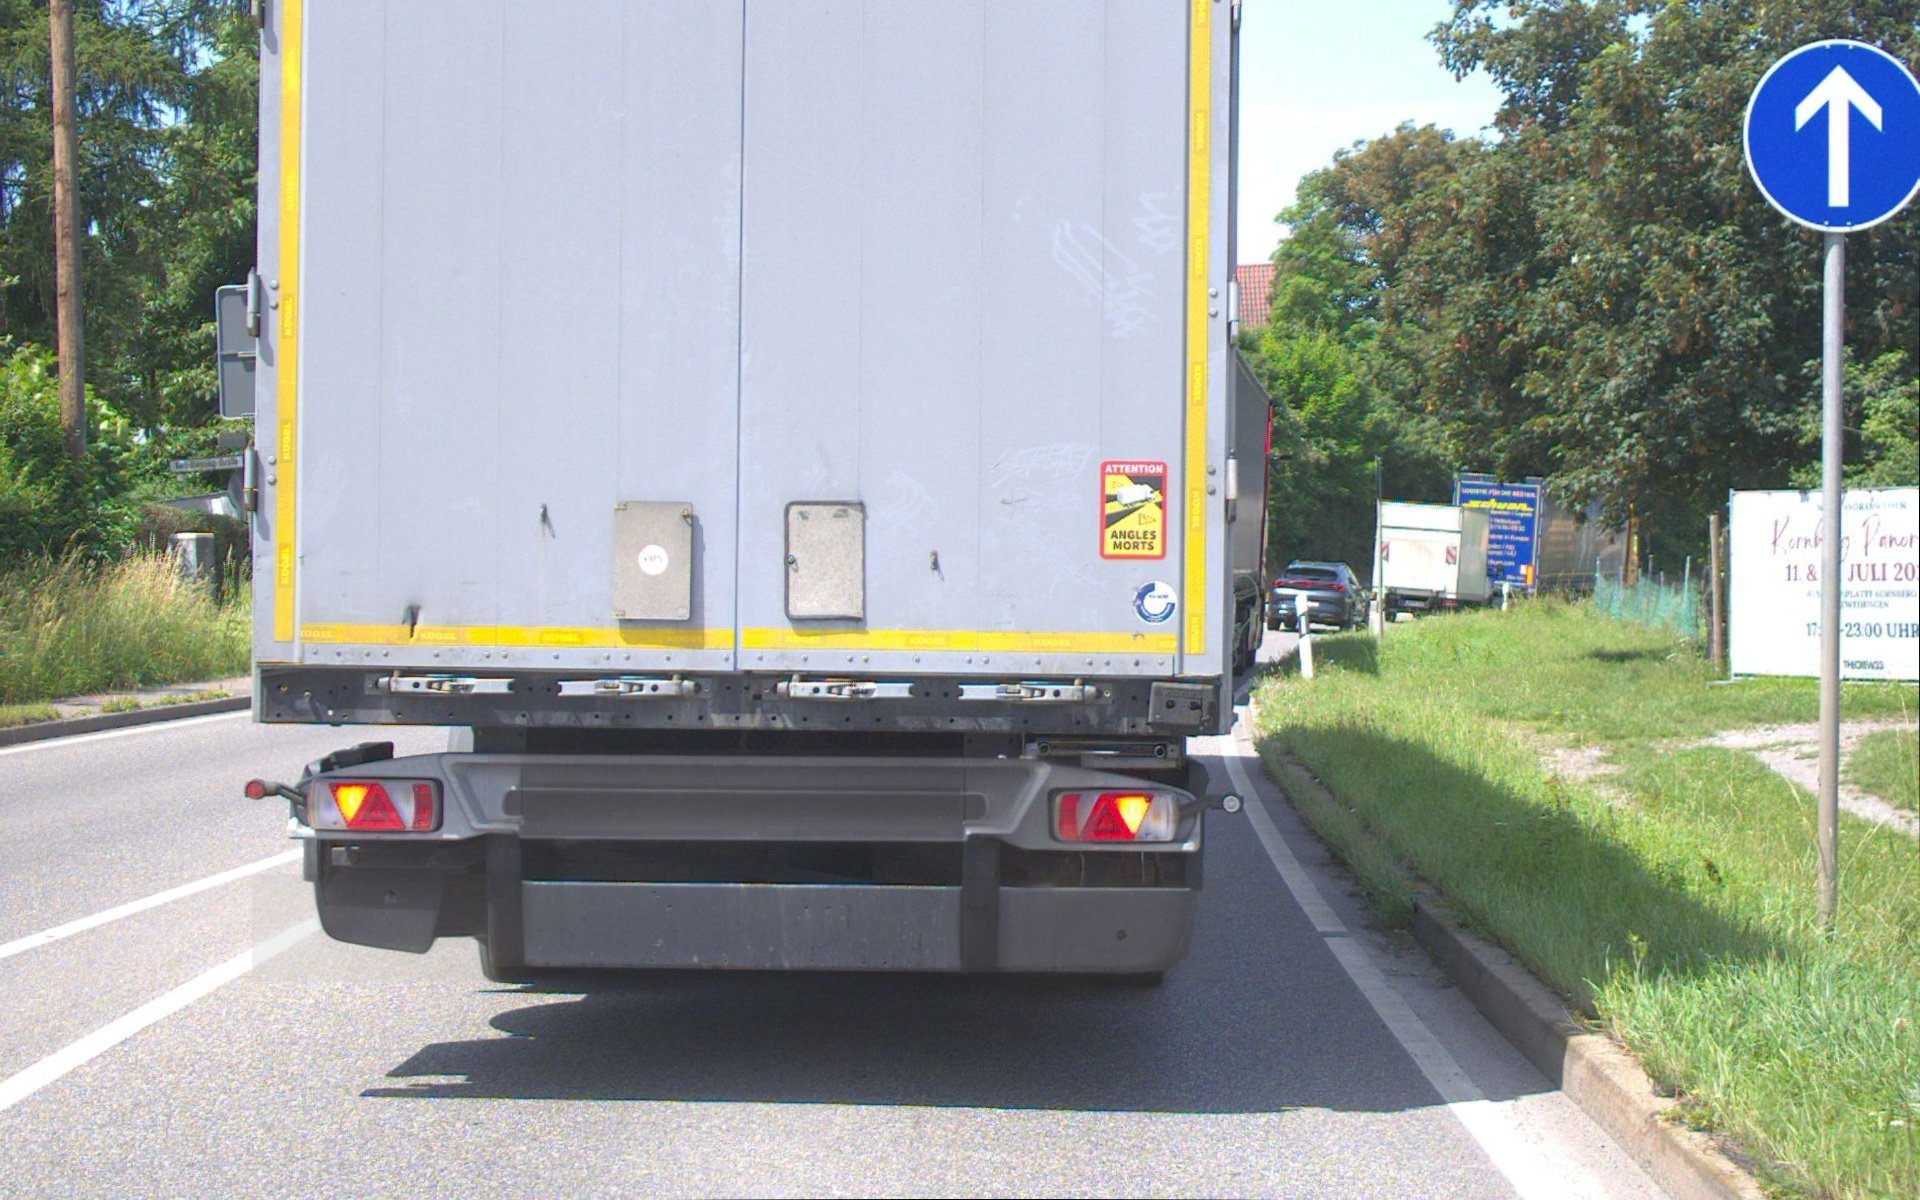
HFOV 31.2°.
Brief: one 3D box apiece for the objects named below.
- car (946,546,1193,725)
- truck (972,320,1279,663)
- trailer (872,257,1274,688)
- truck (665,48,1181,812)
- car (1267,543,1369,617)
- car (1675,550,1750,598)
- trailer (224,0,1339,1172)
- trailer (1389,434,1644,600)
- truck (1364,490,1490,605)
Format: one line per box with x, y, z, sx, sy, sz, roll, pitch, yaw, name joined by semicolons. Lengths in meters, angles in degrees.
1.102;0.281;32.465;1.994;1.525;3.999;0;1;7;car
2.527;-1.506;49.455;3.938;4.559;7.150;0;1;7;truck
1.749;-1.444;42.504;3.892;4.505;12.710;0;1;7;trailer
-0.018;-1.017;21.864;2.746;4.151;6.142;1;2;4;truck
7.729;-0.450;73.990;1.842;1.481;3.998;1;2;11;car
27.653;-0.971;126.225;1.996;1.678;3.995;1;2;23;car
-0.258;-0.840;14.666;2.787;4.191;12.111;1;2;2;trailer
17.104;-2.534;104.081;5.184;4.612;15.882;1;2;18;trailer
11.963;-1.371;87.786;2.422;2.828;5.408;1;2;16;truck
